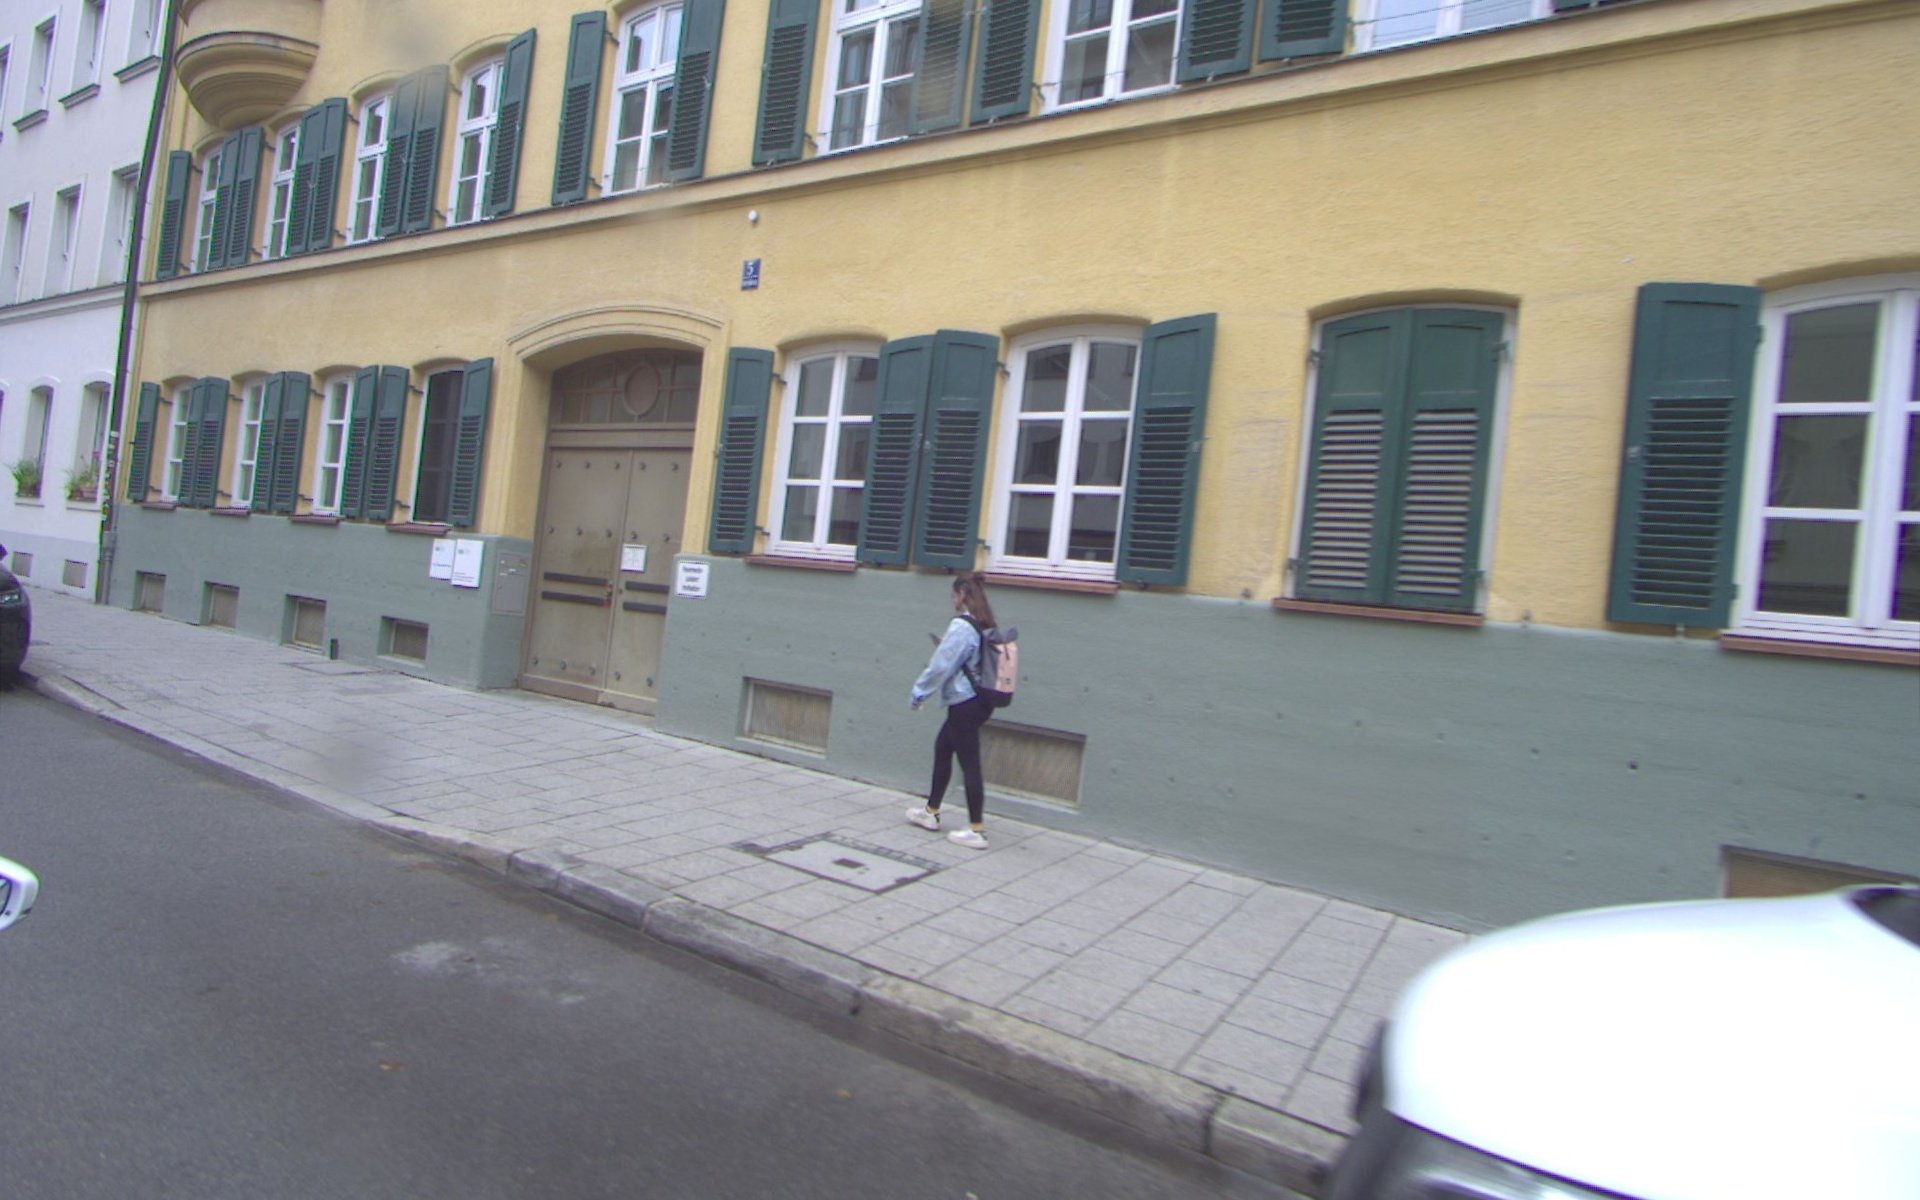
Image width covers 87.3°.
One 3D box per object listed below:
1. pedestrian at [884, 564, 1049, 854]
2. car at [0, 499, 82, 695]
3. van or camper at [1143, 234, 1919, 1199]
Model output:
[{"bbox_3d":[0.048,0.614,6.039,0.631,1.592,0.660,5,2,31],"label":"pedestrian"},{"bbox_3d":[-9.345,-0.264,8.358,4.176,1.481,1.816,6,-2,32],"label":"car"},{"bbox_3d":[2.809,0.882,0.653,4.995,1.894,1.837,6,-1,32],"label":"van or camper"}]
